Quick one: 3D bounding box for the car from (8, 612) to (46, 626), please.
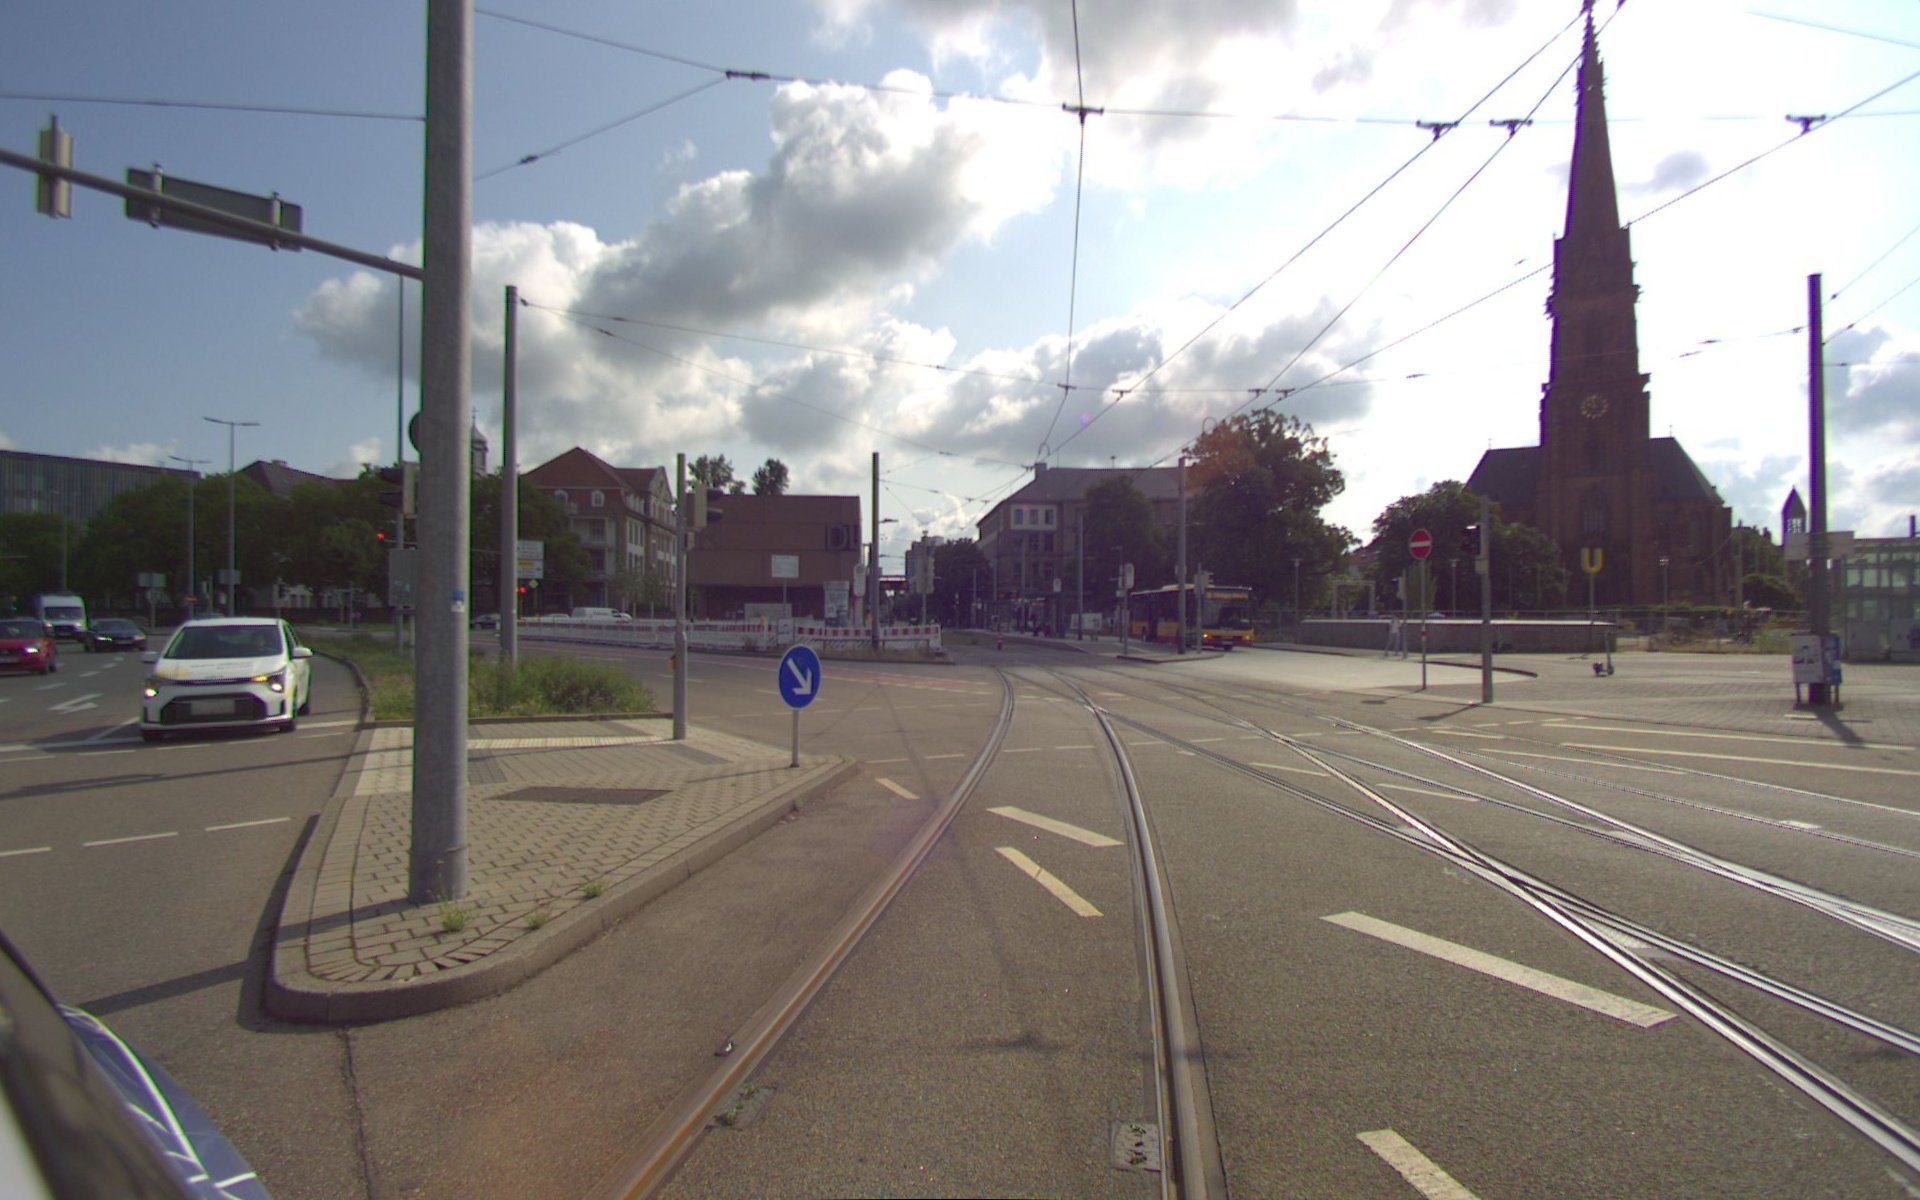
[{"bbox_3d":[-107.114,2.181,116.160,5.085,1.500,1.937,0,-3,33],"label":"car"}]

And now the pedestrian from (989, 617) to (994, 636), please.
[{"bbox_3d":[2.690,2.266,86.535,0.352,1.614,0.365,1,-2,-6],"label":"pedestrian"}]

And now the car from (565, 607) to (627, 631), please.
[{"bbox_3d":[-31.211,1.639,86.893,1.990,2.029,5.027,0,-1,27],"label":"car"}]

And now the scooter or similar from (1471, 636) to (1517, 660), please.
[{"bbox_3d":[21.995,1.981,41.680,1.639,0.957,0.474,0,-1,-3],"label":"scooter or similar"}]

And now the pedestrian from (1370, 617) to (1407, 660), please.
[{"bbox_3d":[17.927,1.599,42.345,0.915,1.702,1.099,-4,2,-7],"label":"pedestrian"}]

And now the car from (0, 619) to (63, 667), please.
[{"bbox_3d":[-26.231,1.163,28.111,1.583,1.223,3.018,0,0,-35],"label":"car"}]

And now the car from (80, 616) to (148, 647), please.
[{"bbox_3d":[-37.405,1.358,44.833,1.967,1.291,4.555,1,-1,-36],"label":"car"}]

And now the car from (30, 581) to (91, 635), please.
[{"bbox_3d":[-50.967,0.471,57.380,2.448,2.901,6.157,1,-2,-42],"label":"car"}]

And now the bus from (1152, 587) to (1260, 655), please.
[{"bbox_3d":[11.057,0.950,46.180,2.659,2.855,7.107,0,-1,-5],"label":"bus"}]

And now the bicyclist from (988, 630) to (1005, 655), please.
[{"bbox_3d":[1.697,1.982,46.985,0.686,1.161,0.739,0,-3,-6],"label":"bicyclist"}]

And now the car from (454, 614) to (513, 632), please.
[{"bbox_3d":[-38.792,1.863,82.484,1.752,1.401,4.089,-1,-1,29],"label":"car"}]

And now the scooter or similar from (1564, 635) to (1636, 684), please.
[{"bbox_3d":[16.908,1.535,26.714,1.339,1.198,1.473,-1,-1,44],"label":"scooter or similar"}]

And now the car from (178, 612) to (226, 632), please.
[{"bbox_3d":[-65.072,1.879,86.845,4.773,1.581,1.976,0,-3,36],"label":"car"}]

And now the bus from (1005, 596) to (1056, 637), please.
[{"bbox_3d":[6.469,1.592,95.236,2.920,3.534,12.266,0,-1,-5],"label":"bus"}]

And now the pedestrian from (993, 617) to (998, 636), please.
[{"bbox_3d":[3.074,2.266,86.541,0.352,1.614,0.365,1,-2,-6],"label":"pedestrian"}]

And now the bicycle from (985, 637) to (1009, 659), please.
[{"bbox_3d":[1.695,2.230,47.026,0.800,1.000,2.072,0,-3,-6],"label":"bicycle"}]

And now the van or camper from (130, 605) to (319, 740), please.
[{"bbox_3d":[-9.903,0.867,13.896,1.601,1.486,4.012,-3,1,-30],"label":"van or camper"}]

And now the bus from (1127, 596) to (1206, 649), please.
[{"bbox_3d":[10.544,1.168,52.252,2.660,2.607,5.083,0,-1,-5],"label":"bus"}]

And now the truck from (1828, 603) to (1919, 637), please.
[{"bbox_3d":[103.098,2.241,114.325,2.433,3.676,7.457,1,-2,-43],"label":"truck"}]
